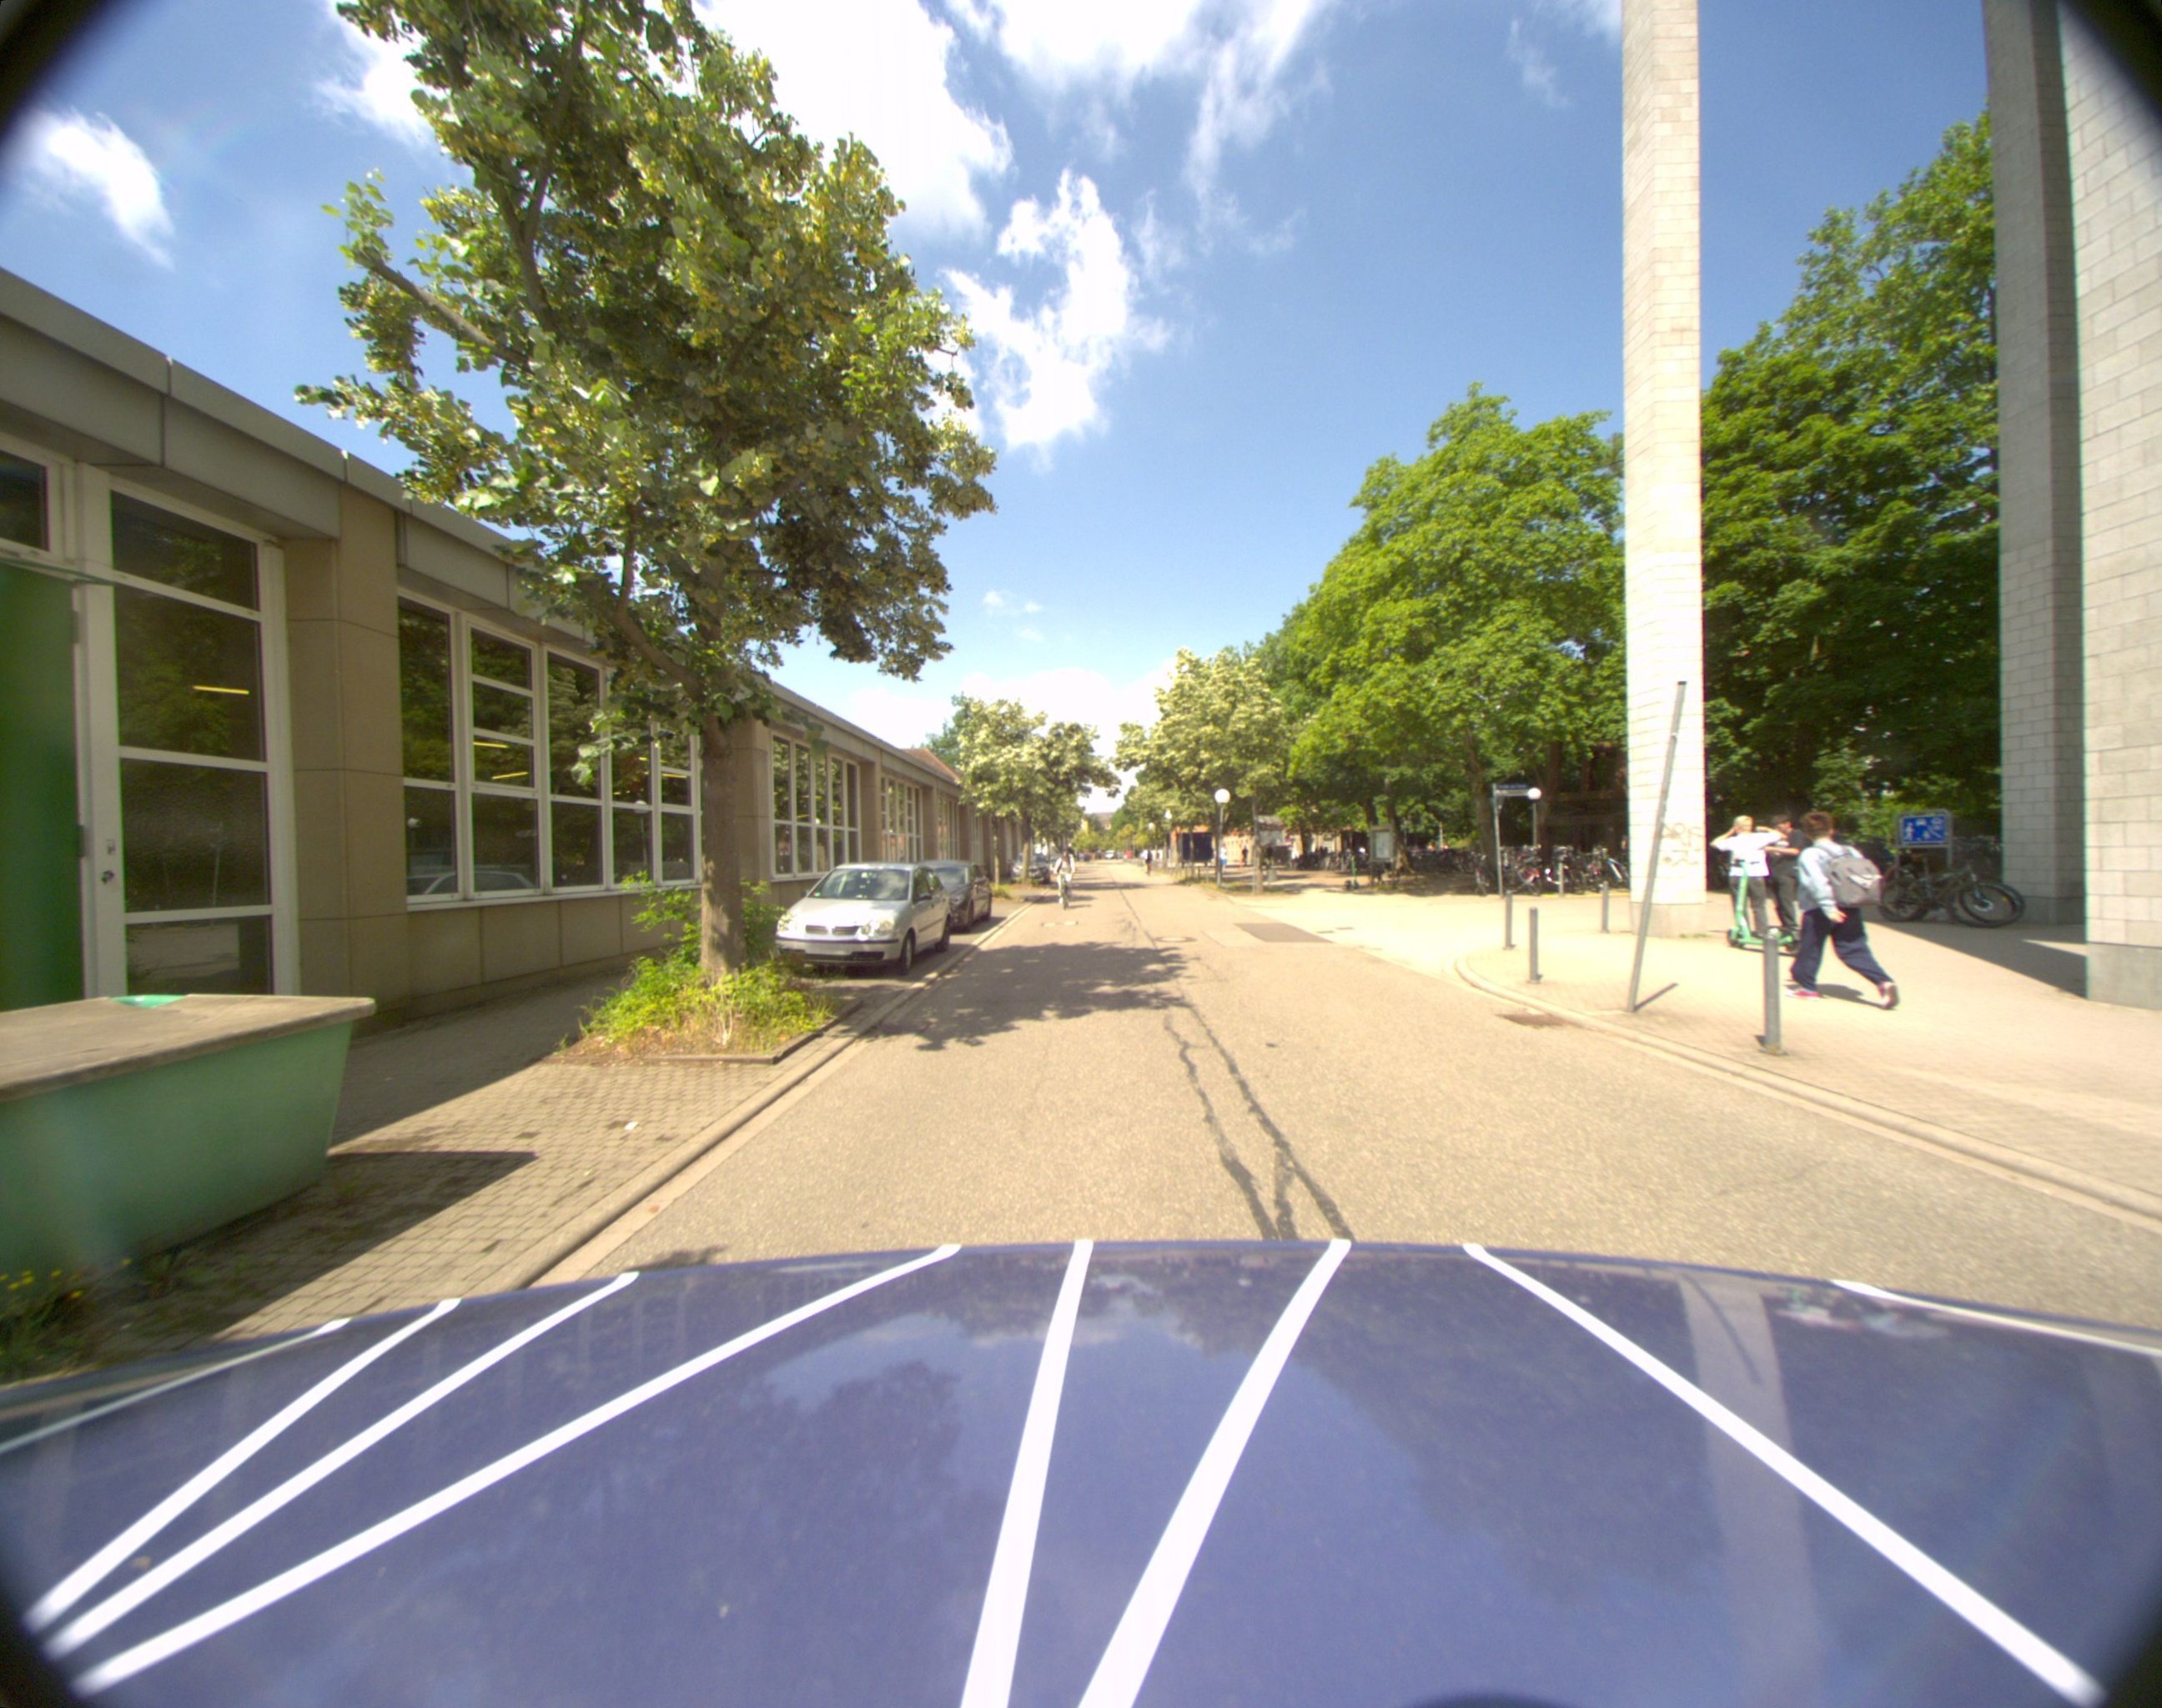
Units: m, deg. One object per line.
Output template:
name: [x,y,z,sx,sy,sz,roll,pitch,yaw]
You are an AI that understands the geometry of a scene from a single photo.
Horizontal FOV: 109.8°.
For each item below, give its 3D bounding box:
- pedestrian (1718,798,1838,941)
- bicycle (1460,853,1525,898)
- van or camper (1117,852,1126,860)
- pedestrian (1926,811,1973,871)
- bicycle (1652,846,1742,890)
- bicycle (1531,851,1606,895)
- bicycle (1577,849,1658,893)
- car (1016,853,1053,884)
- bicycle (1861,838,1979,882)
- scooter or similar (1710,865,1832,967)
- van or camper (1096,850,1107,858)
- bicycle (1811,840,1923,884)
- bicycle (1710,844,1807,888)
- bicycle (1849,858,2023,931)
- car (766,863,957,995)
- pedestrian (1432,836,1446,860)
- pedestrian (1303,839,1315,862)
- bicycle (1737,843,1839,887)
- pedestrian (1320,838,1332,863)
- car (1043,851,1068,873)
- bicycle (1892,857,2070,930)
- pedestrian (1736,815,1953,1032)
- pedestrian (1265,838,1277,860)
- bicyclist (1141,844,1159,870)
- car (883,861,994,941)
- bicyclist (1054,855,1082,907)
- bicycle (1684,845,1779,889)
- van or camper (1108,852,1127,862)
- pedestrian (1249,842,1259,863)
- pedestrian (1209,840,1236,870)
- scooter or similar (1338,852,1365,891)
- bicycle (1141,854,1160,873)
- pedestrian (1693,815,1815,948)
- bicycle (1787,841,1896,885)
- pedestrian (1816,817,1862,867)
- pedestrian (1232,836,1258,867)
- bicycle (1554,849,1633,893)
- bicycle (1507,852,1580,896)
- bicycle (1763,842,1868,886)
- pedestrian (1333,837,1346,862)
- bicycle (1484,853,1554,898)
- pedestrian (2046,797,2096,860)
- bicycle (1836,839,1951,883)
pedestrian: [10.327,0.219,11.307,0.755,2.002,1.081,-2,1,1]
bicycle: [10.765,0.528,19.936,0.508,1.100,2.001,-2,0,-3]
van or camper: [11.145,0.437,210.809,1.852,2.093,4.306,-2,1,11]
pedestrian: [35.944,-0.550,31.442,1.004,2.406,1.003,-3,1,-24]
bicycle: [16.077,0.335,19.911,0.622,1.052,2.124,-2,1,1]
bicycle: [12.716,0.464,19.901,0.622,1.052,2.124,-2,1,1]
bicycle: [14.022,0.414,19.931,0.622,1.052,2.124,-2,1,1]
car: [-2.366,0.730,39.743,1.649,1.484,3.815,0,1,1]
bicycle: [21.457,0.133,19.509,0.622,1.052,2.174,-2,1,1]
scooter or similar: [8.461,0.718,9.374,0.317,1.138,1.313,-2,1,1]
van or camper: [6.001,-0.019,218.920,2.092,1.963,4.263,-2,1,15]
bicycle: [20.114,0.184,19.518,0.622,1.052,2.174,-2,1,1]
bicycle: [17.452,0.285,19.645,0.622,1.052,2.124,-2,1,1]
bicycle: [13.144,0.579,11.778,0.596,0.980,1.965,-2,1,5]
car: [-2.968,0.929,11.076,1.622,1.503,3.817,1,0,1]
pedestrian: [22.491,-0.381,47.702,0.587,1.523,0.503,-3,1,-20]
pedestrian: [16.690,-0.247,55.599,0.678,1.661,0.815,-2,1,7]
bicycle: [18.128,0.260,19.560,0.622,1.052,2.174,-2,1,1]
pedestrian: [16.591,-0.266,51.460,0.678,1.661,0.815,-2,1,16]
car: [-1.868,0.573,55.533,1.649,1.484,3.815,0,1,1]
bicycle: [13.757,0.556,11.711,0.517,0.980,1.965,-2,1,5]
pedestrian: [6.644,0.557,6.708,0.760,1.715,1.236,-4,1,14]
pedestrian: [17.237,-0.455,68.979,0.677,1.882,0.816,-1,2,41]
bicyclist: [4.594,0.179,50.441,1.053,1.690,1.282,-2,1,2]
car: [-2.949,0.924,16.430,1.622,1.455,3.817,1,0,1]
bicyclist: [-0.375,0.777,22.239,0.781,1.478,0.695,-1,1,0]
bicycle: [16.746,0.312,19.632,0.622,1.052,2.124,-2,1,1]
van or camper: [9.198,0.752,190.923,4.389,2.348,1.995,-1,1,-30]
pedestrian: [13.964,-0.161,61.430,0.678,1.661,0.815,-2,1,7]
pedestrian: [9.058,0.044,48.654,1.400,1.814,1.369,-2,1,1]
scooter or similar: [9.021,0.564,25.340,0.713,1.184,1.617,-1,2,23]
bicycle: [4.612,0.628,50.497,1.011,1.169,3.394,-2,1,2]
pedestrian: [9.530,0.371,10.806,0.755,1.770,1.081,-2,1,1]
bicycle: [19.459,0.209,19.525,0.622,1.052,2.174,-2,1,1]
pedestrian: [31.067,-0.495,31.152,1.004,2.002,1.003,-3,1,-24]
pedestrian: [10.879,-0.164,50.566,1.400,2.002,1.369,-2,1,1]
bicycle: [13.370,0.406,19.904,0.622,1.052,2.124,-2,1,1]
bicycle: [12.057,0.490,19.894,0.622,1.052,2.124,-2,1,1]
bicycle: [18.793,0.235,19.520,0.622,1.052,2.174,-2,1,1]
pedestrian: [17.466,-0.298,51.366,0.756,1.661,0.823,-2,1,16]
bicycle: [11.421,0.530,19.891,0.592,1.052,2.124,-2,1,1]
pedestrian: [39.253,-1.000,30.129,1.004,2.406,1.003,-3,1,-24]
bicycle: [20.781,0.158,19.511,0.622,1.052,2.174,-2,1,1]
